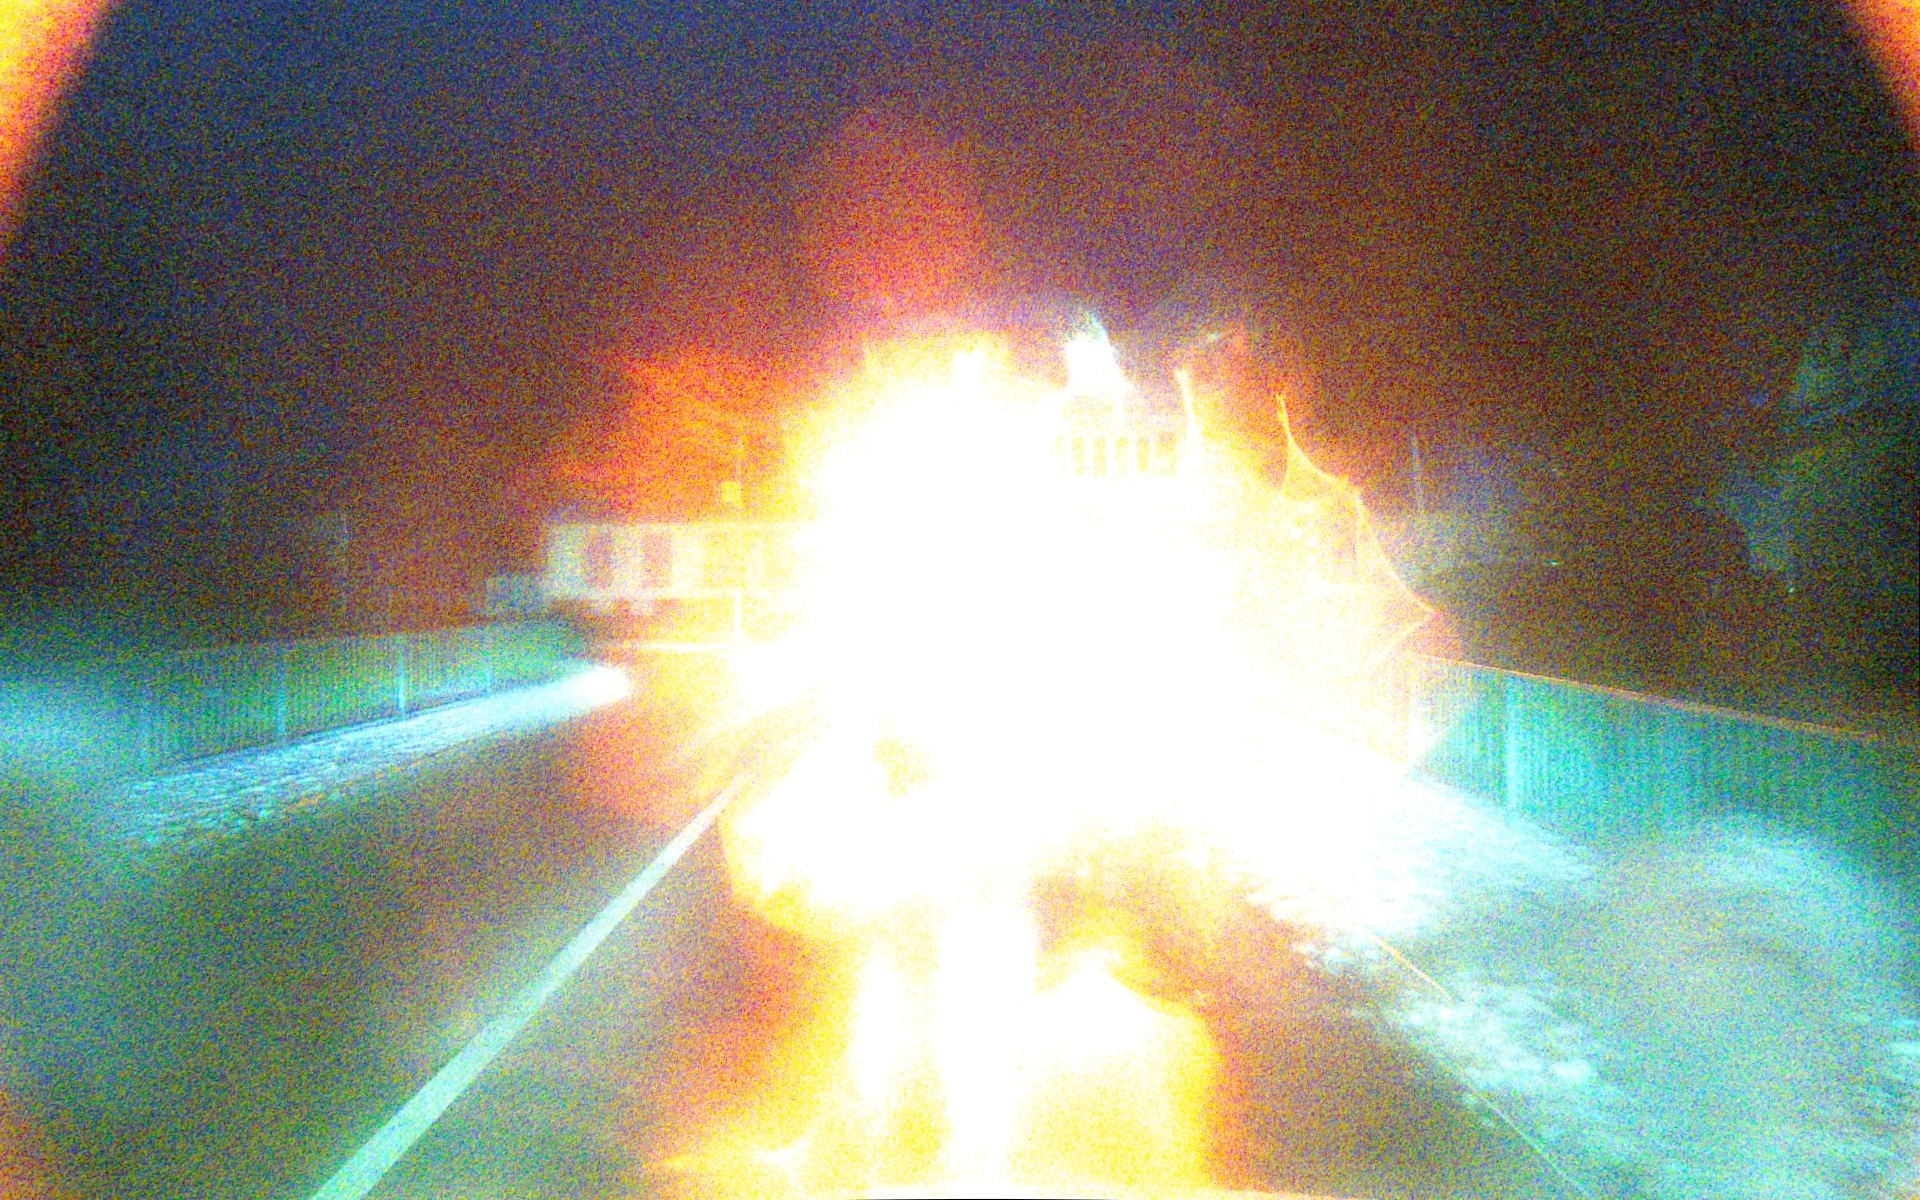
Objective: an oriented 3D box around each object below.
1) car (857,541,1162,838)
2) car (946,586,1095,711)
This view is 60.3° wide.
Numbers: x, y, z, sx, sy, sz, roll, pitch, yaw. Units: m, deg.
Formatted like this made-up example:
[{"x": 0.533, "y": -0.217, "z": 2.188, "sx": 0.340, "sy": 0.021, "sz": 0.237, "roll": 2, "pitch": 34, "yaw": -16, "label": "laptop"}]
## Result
[{"x": 0.331, "y": 0.486, "z": 11.465, "sx": 1.754, "sy": 1.710, "sz": 3.905, "roll": 0, "pitch": 1, "yaw": 1, "label": "car"}, {"x": 0.820, "y": 0.542, "z": 21.118, "sx": 1.707, "sy": 1.440, "sz": 4.002, "roll": 0, "pitch": 0, "yaw": 3, "label": "car"}]
